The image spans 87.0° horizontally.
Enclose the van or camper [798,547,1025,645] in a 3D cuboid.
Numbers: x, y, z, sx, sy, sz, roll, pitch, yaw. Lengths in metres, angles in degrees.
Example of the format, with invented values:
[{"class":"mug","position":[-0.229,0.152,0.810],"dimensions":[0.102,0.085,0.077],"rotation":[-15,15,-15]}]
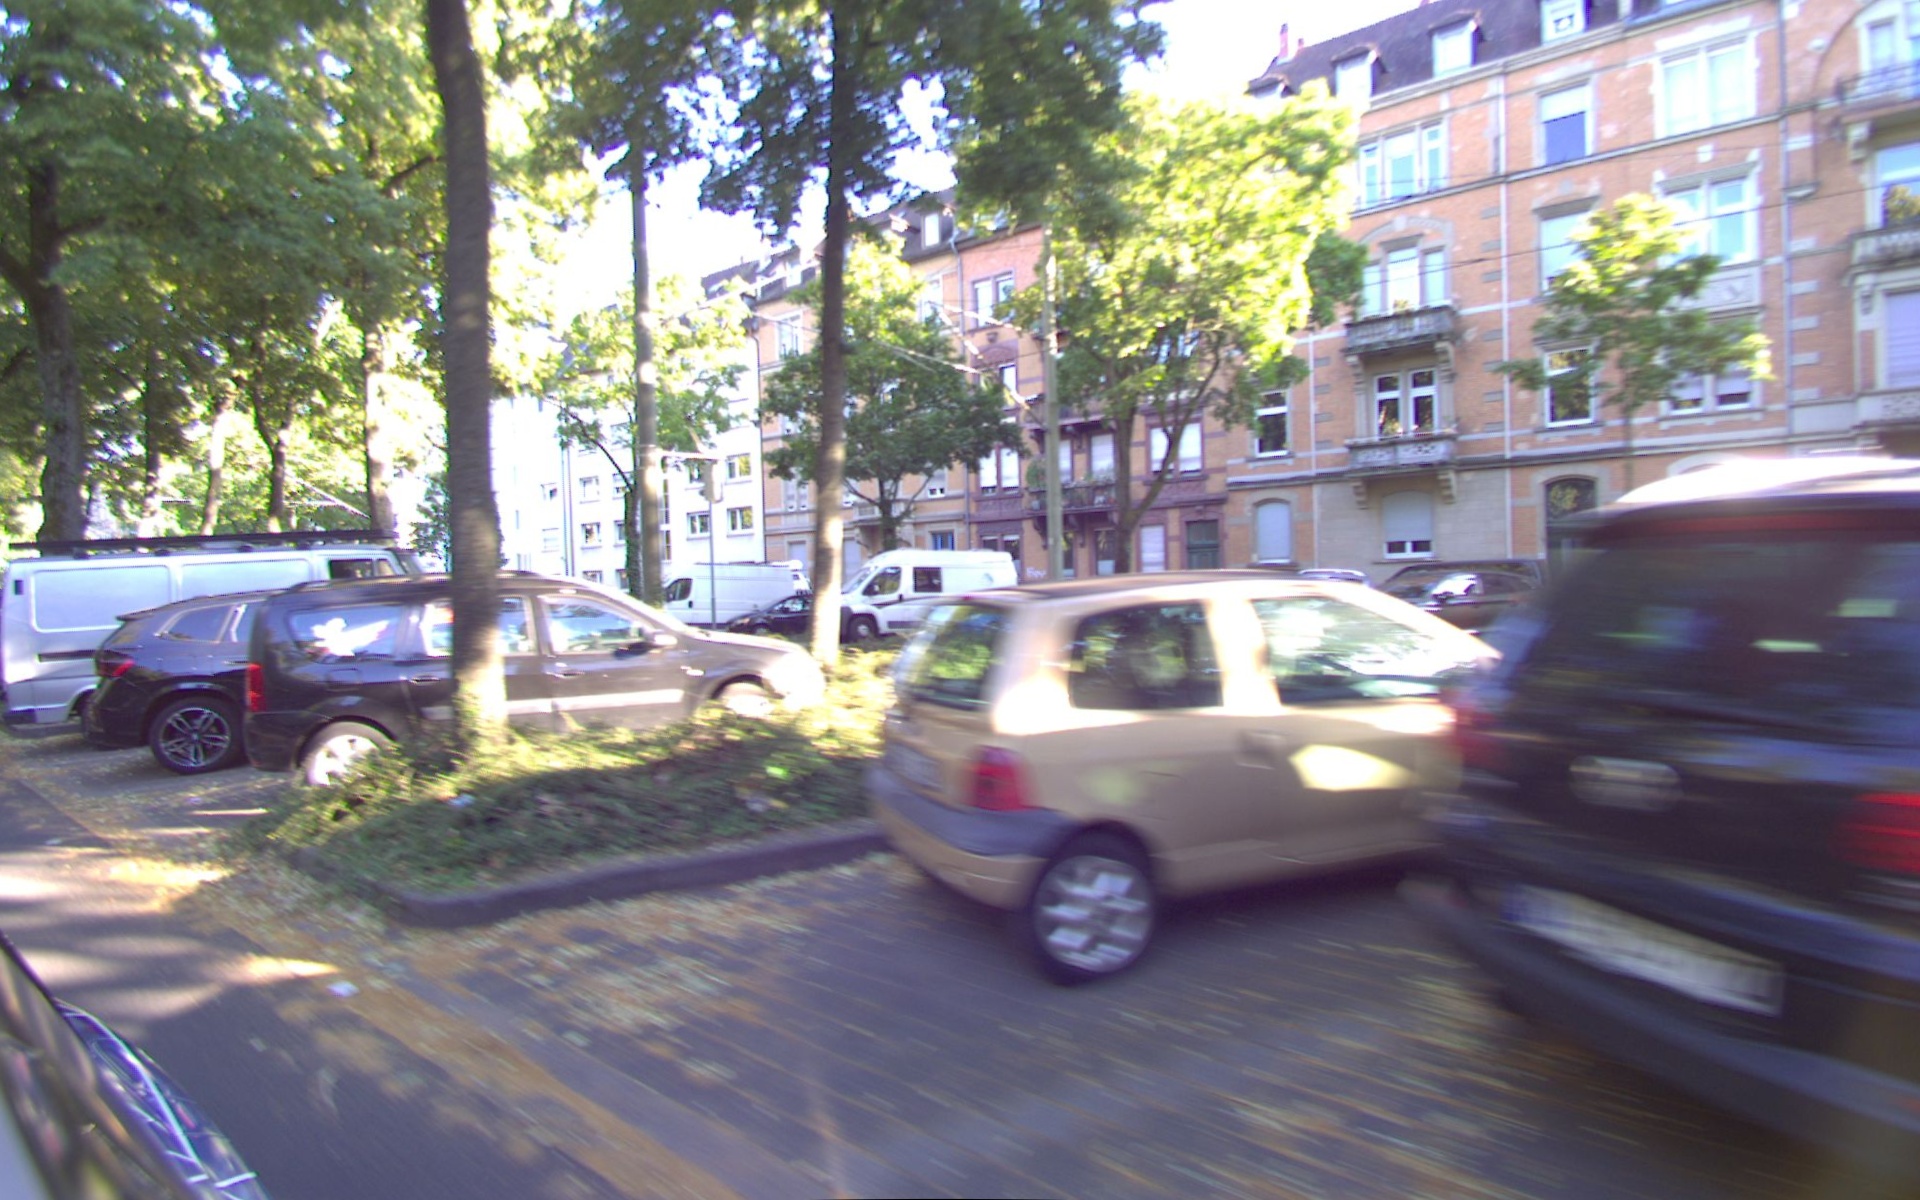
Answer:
[{"class":"van or camper","position":[-1.282,-0.125,26.622],"dimensions":[5.455,2.389,2.315],"rotation":[-1,-1,-24]}]

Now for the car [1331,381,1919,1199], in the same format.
[{"class":"car","position":[3.343,0.325,2.610],"dimensions":[4.090,1.656,1.921],"rotation":[-4,3,-17]}]

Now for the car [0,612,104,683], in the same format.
[{"class":"car","position":[-22.699,1.187,23.539],"dimensions":[3.760,1.449,1.831],"rotation":[-4,3,-17]}]

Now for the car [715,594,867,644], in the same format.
[{"class":"car","position":[-5.082,0.551,30.350],"dimensions":[4.250,1.373,1.736],"rotation":[-1,-1,-18]}]

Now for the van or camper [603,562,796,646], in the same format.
[{"class":"van or camper","position":[-8.218,0.087,32.061],"dimensions":[5.579,2.487,2.006],"rotation":[-1,-1,-27]}]

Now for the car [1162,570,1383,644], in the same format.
[{"class":"car","position":[6.283,0.112,20.336],"dimensions":[4.116,1.320,1.641],"rotation":[-2,0,-22]}]

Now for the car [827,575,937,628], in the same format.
[{"class":"car","position":[-3.019,0.076,38.771],"dimensions":[3.910,1.795,1.834],"rotation":[-3,2,37]}]

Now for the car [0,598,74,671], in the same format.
[{"class":"car","position":[-29.309,1.122,29.431],"dimensions":[4.803,1.992,2.052],"rotation":[-4,3,-22]}]

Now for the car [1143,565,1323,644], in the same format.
[{"class":"car","position":[7.943,0.164,29.639],"dimensions":[4.653,2.019,1.834],"rotation":[-3,2,38]}]

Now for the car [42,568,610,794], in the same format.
[{"class":"car","position":[-6.113,0.640,10.391],"dimensions":[4.442,1.628,1.941],"rotation":[-5,3,-27]}]

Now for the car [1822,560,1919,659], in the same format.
[{"class":"car","position":[14.438,0.081,14.789],"dimensions":[3.932,1.327,1.598],"rotation":[-2,0,-31]}]

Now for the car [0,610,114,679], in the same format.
[{"class":"car","position":[-24.082,1.185,25.721],"dimensions":[3.490,1.504,1.832],"rotation":[-5,3,-22]}]

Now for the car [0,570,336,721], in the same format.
[{"class":"car","position":[-12.973,0.653,16.192],"dimensions":[4.634,1.957,1.941],"rotation":[-4,3,-18]}]

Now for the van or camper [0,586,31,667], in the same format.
[{"class":"van or camper","position":[-32.184,0.965,31.108],"dimensions":[4.803,2.488,2.052],"rotation":[-4,3,-24]}]

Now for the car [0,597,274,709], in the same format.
[{"class":"car","position":[-15.117,0.916,17.889],"dimensions":[4.494,1.552,1.941],"rotation":[-4,3,-18]}]

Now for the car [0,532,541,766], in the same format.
[{"class":"car","position":[-8.128,0.437,12.324],"dimensions":[5.420,2.152,2.088],"rotation":[-5,3,-21]}]

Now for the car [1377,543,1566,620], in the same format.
[{"class":"car","position":[12.989,-0.397,25.793],"dimensions":[4.018,1.796,1.833],"rotation":[-2,-2,38]}]

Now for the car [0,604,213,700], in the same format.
[{"class":"car","position":[-17.305,1.007,19.682],"dimensions":[4.024,1.499,1.790],"rotation":[-5,3,-20]}]

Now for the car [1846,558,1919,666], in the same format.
[{"class":"car","position":[20.204,0.168,19.889],"dimensions":[3.994,2.028,1.976],"rotation":[-3,2,37]}]

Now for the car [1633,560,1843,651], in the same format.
[{"class":"car","position":[17.117,0.138,22.426],"dimensions":[3.502,1.795,1.834],"rotation":[-3,2,37]}]

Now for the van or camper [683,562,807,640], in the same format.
[{"class":"van or camper","position":[-9.136,0.105,42.804],"dimensions":[5.506,3.133,2.055],"rotation":[-1,-2,38]}]

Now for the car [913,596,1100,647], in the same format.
[{"class":"car","position":[1.117,0.500,24.396],"dimensions":[4.095,1.106,1.833],"rotation":[0,-1,-23]}]

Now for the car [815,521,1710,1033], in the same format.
[{"class":"car","position":[1.245,0.490,4.570],"dimensions":[3.369,1.436,1.840],"rotation":[-5,3,-20]}]

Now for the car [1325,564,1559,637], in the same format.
[{"class":"car","position":[8.872,-0.015,18.604],"dimensions":[4.131,1.176,1.504],"rotation":[-2,0,-23]}]

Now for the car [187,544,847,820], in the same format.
[{"class":"car","position":[-3.378,0.502,8.460],"dimensions":[4.443,1.628,1.860],"rotation":[-5,3,-18]}]
